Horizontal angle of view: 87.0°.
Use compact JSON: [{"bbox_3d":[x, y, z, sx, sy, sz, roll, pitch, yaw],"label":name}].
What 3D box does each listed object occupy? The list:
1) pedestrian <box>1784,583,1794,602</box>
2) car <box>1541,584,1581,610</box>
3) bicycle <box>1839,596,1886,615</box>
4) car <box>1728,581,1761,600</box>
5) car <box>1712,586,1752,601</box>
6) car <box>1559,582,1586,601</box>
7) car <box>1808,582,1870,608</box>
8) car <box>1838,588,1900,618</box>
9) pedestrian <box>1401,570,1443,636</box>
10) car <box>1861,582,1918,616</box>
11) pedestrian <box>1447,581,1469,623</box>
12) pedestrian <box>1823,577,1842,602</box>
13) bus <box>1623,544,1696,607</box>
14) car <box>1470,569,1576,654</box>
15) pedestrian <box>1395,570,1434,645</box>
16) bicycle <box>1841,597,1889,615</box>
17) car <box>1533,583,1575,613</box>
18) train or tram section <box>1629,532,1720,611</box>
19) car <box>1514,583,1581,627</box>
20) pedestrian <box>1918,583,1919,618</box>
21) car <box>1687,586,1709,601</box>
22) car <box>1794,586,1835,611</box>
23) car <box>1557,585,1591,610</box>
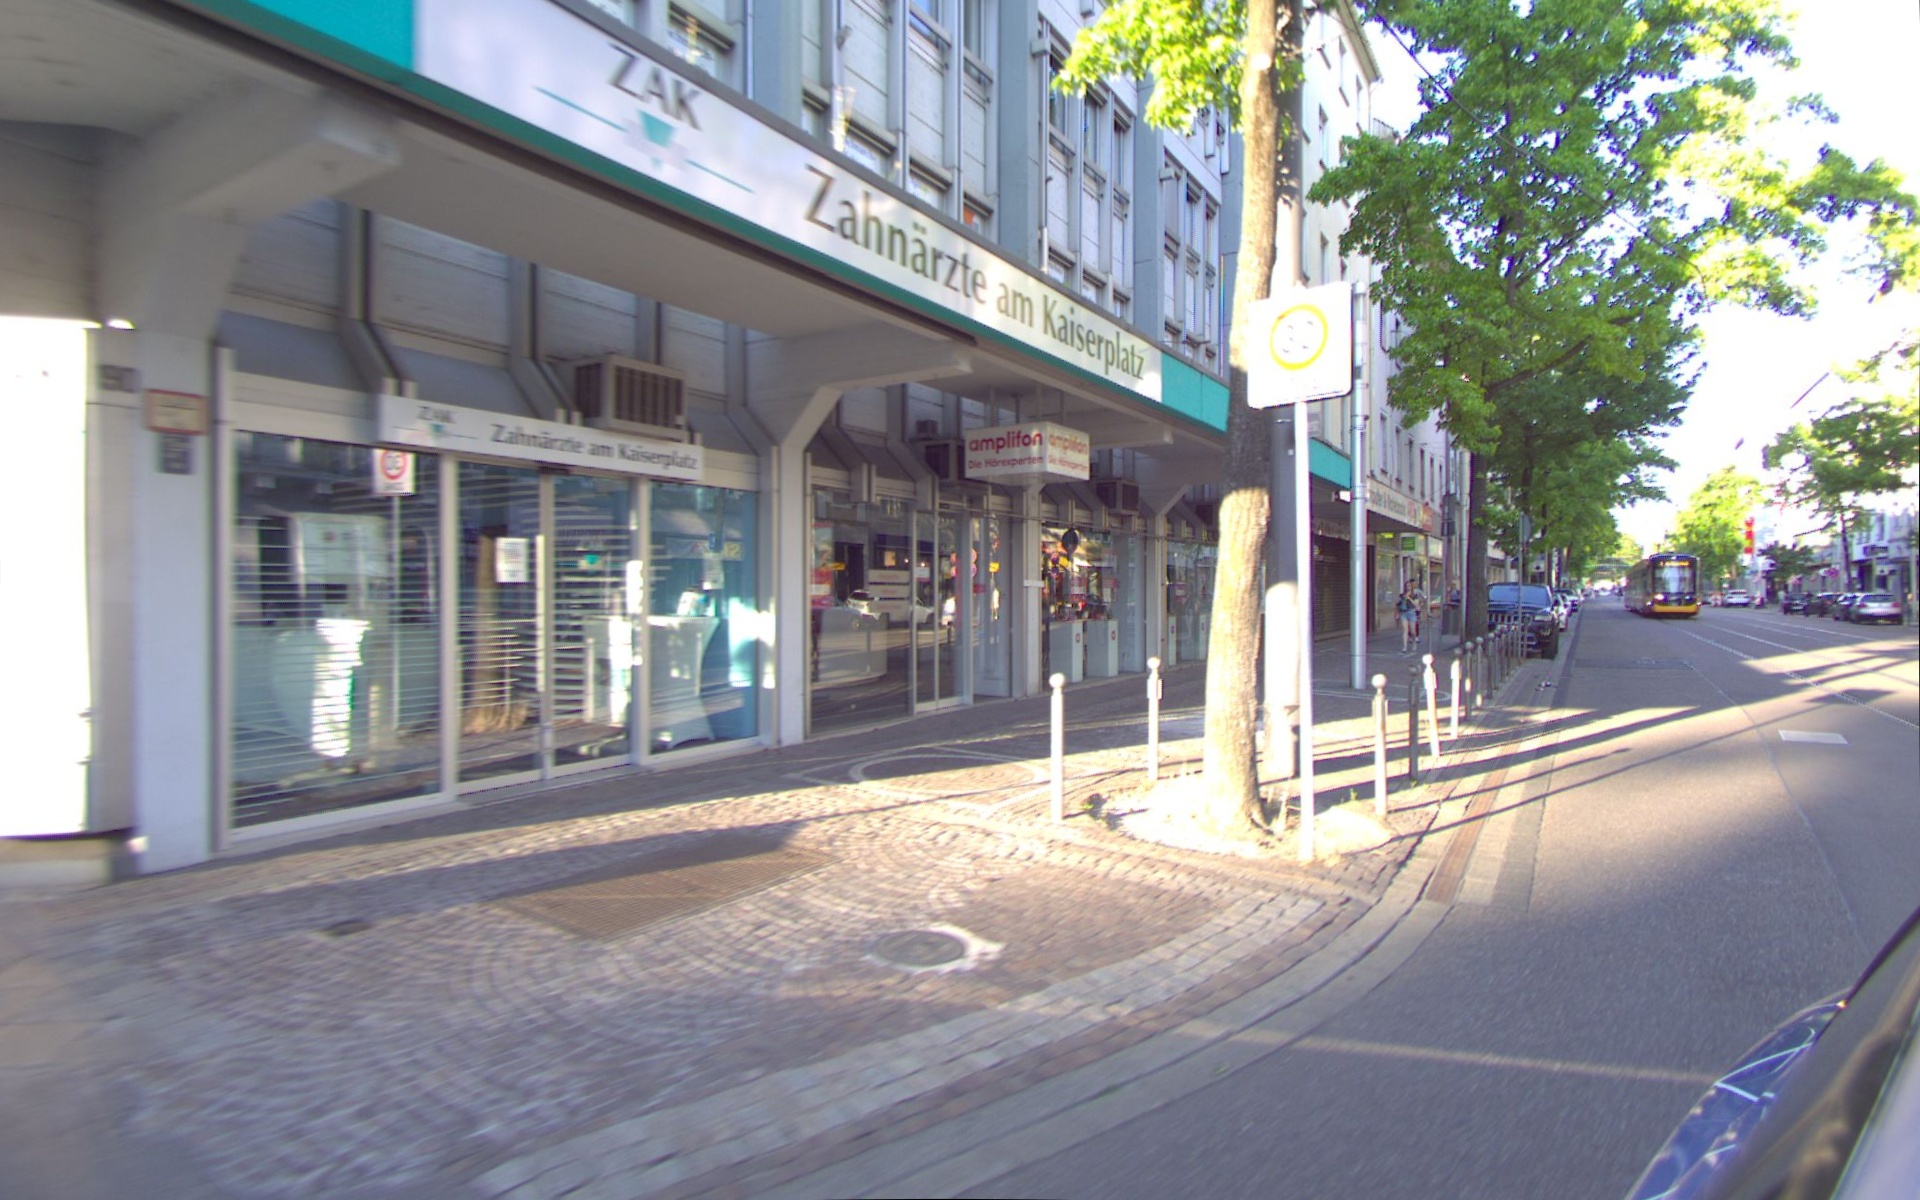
[{"bbox_3d":[75.905,-0.704,92.632,0.640,1.735,0.818,-1,-1,37],"label":"pedestrian"},{"bbox_3d":[36.854,-0.218,62.030,1.905,1.438,4.830,3,2,33],"label":"car"},{"bbox_3d":[51.527,0.303,57.774,1.965,1.014,0.326,0,0,36],"label":"bicycle"},{"bbox_3d":[76.968,-0.886,99.313,1.984,1.776,4.690,-2,-1,32],"label":"car"},{"bbox_3d":[92.592,-0.788,121.397,3.346,1.580,1.784,-3,0,11],"label":"car"},{"bbox_3d":[62.691,-0.855,103.542,1.947,1.815,4.260,3,2,36],"label":"car"},{"bbox_3d":[53.502,-0.305,61.681,1.780,1.509,4.204,-1,0,26],"label":"car"},{"bbox_3d":[48.065,0.144,53.599,1.704,1.479,4.434,-2,0,33],"label":"car"},{"bbox_3d":[12.805,0.072,28.046,0.855,1.774,0.922,4,2,33],"label":"pedestrian"},{"bbox_3d":[44.381,-0.073,48.397,1.764,1.516,4.115,0,1,39],"label":"car"},{"bbox_3d":[20.374,0.067,41.421,0.655,1.685,0.878,3,2,32],"label":"pedestrian"},{"bbox_3d":[63.217,-0.737,73.334,0.846,1.788,0.823,0,0,31],"label":"pedestrian"},{"bbox_3d":[50.342,-1.602,73.270,3.592,4.048,17.278,1,0,32],"label":"bus"},{"bbox_3d":[13.946,0.233,24.936,1.931,1.780,4.625,5,3,32],"label":"car"},{"bbox_3d":[10.744,0.168,23.929,0.641,1.690,0.777,4,2,33],"label":"pedestrian"},{"bbox_3d":[50.484,0.331,56.459,1.965,1.014,0.326,0,0,36],"label":"bicycle"},{"bbox_3d":[32.468,-0.148,55.252,1.825,1.496,4.708,3,2,32],"label":"car"},{"bbox_3d":[41.559,-1.492,59.370,3.583,4.048,15.532,1,0,32],"label":"train or tram section"},{"bbox_3d":[23.076,0.153,39.678,1.987,1.516,4.624,4,2,33],"label":"car"},{"bbox_3d":[50.132,0.004,52.331,0.657,1.849,0.868,-3,-2,33],"label":"pedestrian"},{"bbox_3d":[90.034,-0.793,123.471,1.877,1.632,4.152,3,2,32],"label":"car"},{"bbox_3d":[57.676,-0.118,68.315,3.645,1.637,1.632,0,-1,-43],"label":"car"},{"bbox_3d":[46.734,-0.214,77.059,1.987,1.708,4.917,3,2,29],"label":"car"}]
